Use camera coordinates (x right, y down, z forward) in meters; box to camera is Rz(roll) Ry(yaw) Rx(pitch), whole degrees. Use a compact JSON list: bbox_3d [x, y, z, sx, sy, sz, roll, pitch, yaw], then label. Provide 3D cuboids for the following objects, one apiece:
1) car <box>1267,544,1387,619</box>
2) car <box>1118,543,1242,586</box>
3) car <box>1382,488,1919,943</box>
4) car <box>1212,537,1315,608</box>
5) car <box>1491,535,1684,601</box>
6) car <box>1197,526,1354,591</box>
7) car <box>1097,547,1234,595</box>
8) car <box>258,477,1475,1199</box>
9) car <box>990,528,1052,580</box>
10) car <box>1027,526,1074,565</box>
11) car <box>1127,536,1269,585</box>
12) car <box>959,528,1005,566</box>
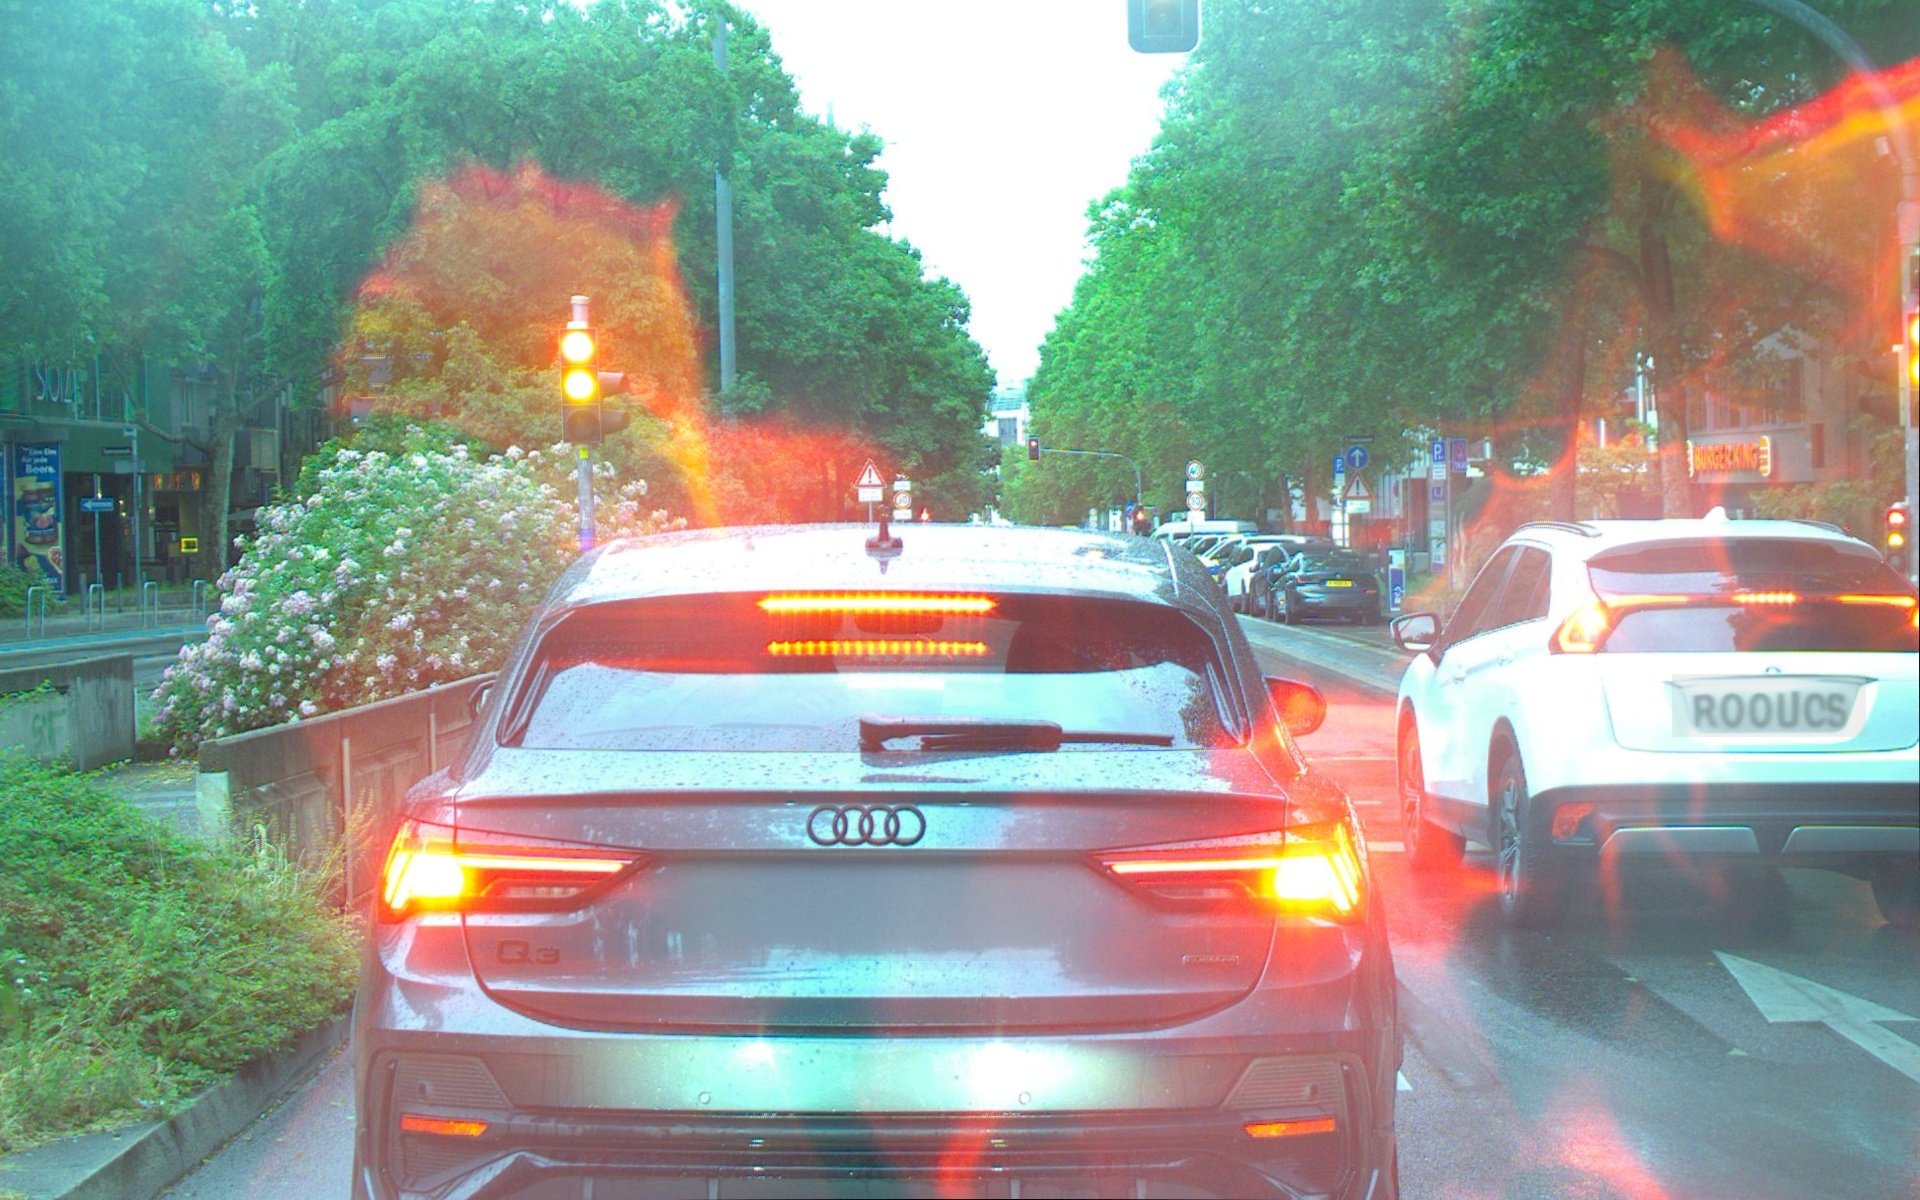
[{"bbox_3d":[7.265,-0.383,68.405,1.873,1.416,4.611,1,1,0],"label":"car"},{"bbox_3d":[8.996,-1.446,140.590,4.646,1.700,1.997,1,0,28],"label":"car"},{"bbox_3d":[3.024,0.424,14.947,1.878,1.691,4.000,1,0,0],"label":"car"},{"bbox_3d":[6.971,-0.634,79.345,1.727,1.566,4.074,1,0,-4],"label":"car"},{"bbox_3d":[10.677,-0.548,58.519,2.889,1.071,1.453,1,0,32],"label":"car"},{"bbox_3d":[9.999,-1.315,109.074,4.602,2.007,1.964,1,0,39],"label":"car"},{"bbox_3d":[7.634,-1.072,127.710,4.646,1.700,1.997,1,0,28],"label":"car"},{"bbox_3d":[-0.166,0.582,7.235,1.849,1.596,4.000,0,1,-1],"label":"car"},{"bbox_3d":[2.051,-1.552,117.290,1.993,1.721,4.000,1,0,0],"label":"car"},{"bbox_3d":[3.958,-2.365,151.080,1.993,1.645,4.000,1,0,1],"label":"car"},{"bbox_3d":[8.523,-1.420,123.323,4.646,1.700,1.997,1,0,28],"label":"car"},{"bbox_3d":[0.915,-2.278,148.137,1.896,1.593,3.939,1,0,-1],"label":"car"}]
